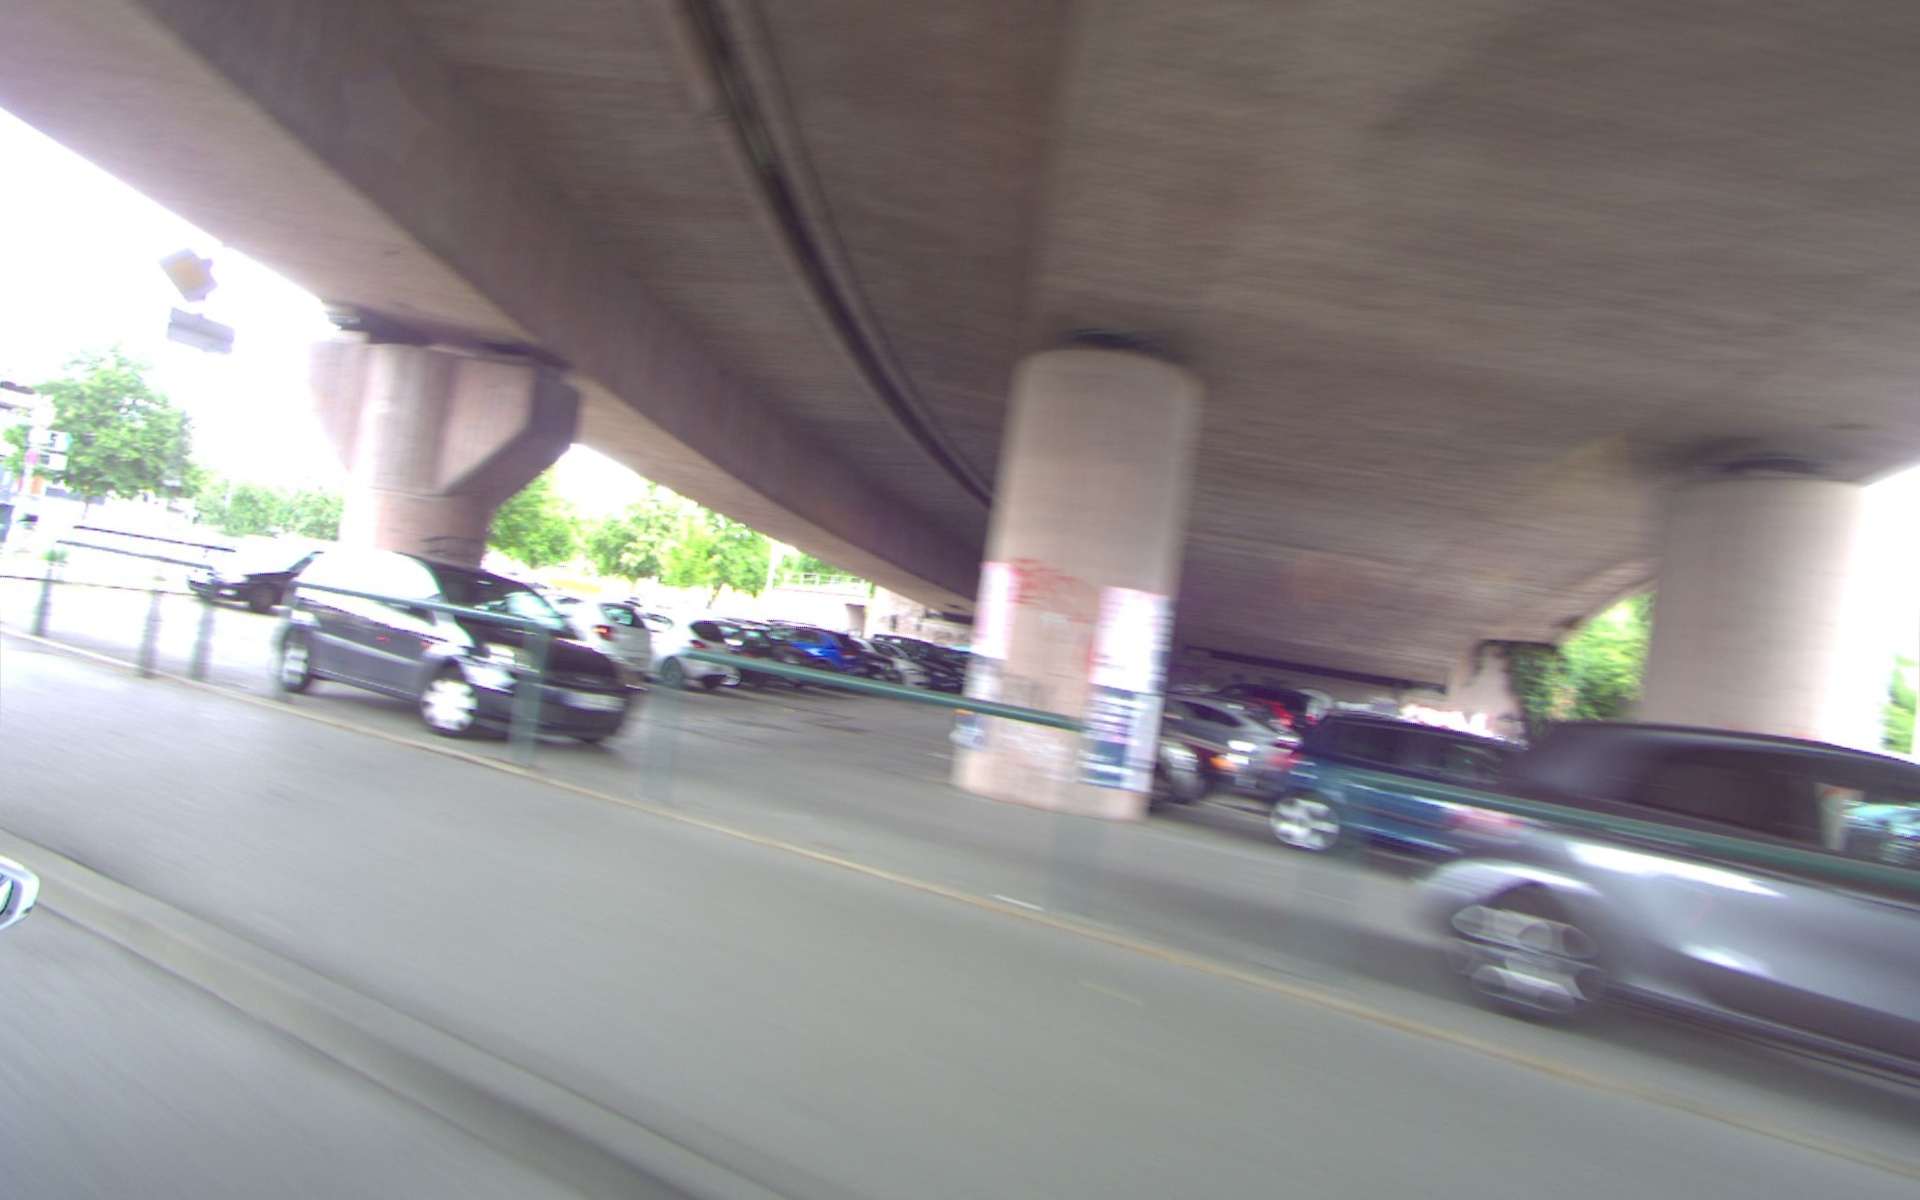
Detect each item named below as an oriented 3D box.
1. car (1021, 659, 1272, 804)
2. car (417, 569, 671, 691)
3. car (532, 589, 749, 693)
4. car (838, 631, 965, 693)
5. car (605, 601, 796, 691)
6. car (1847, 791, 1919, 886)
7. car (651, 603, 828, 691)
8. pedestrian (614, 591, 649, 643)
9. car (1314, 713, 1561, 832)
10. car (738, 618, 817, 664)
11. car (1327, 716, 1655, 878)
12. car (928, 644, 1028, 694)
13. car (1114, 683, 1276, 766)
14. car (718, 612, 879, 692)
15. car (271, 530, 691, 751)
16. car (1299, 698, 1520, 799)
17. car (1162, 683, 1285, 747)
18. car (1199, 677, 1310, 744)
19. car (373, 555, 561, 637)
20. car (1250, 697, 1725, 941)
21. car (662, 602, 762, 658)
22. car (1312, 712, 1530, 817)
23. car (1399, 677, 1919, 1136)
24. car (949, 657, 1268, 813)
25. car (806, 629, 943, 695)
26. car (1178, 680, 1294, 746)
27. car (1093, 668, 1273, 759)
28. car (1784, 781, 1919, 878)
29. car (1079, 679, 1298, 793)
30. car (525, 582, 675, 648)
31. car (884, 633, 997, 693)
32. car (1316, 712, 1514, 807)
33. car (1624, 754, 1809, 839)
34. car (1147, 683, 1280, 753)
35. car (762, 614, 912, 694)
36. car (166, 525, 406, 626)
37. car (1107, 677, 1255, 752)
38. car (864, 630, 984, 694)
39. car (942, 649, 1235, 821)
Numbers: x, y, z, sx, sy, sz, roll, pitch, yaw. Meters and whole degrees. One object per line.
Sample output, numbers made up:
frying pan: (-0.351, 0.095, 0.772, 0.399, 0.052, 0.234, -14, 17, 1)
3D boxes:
car: (3.222, 2.172, 17.204, 3.790, 1.717, 1.841, 8, -2, 20)
car: (-7.491, 0.552, 18.193, 3.935, 1.569, 1.641, 8, -2, 16)
car: (-6.568, 0.855, 20.827, 3.788, 1.526, 1.701, 8, -2, 13)
car: (-1.936, 2.098, 33.864, 3.788, 1.454, 1.761, 8, -2, 13)
car: (-5.983, 1.088, 23.341, 3.788, 1.459, 1.701, 8, -2, 13)
car: (20.482, 5.021, 19.716, 4.114, 1.610, 1.841, 8, -2, 20)
car: (-5.475, 1.178, 25.139, 3.788, 1.573, 1.701, 8, -2, 13)
pedestrian: (-13.165, 0.675, 40.302, 0.723, 1.928, 0.826, 7, -2, 17)
car: (9.317, 3.345, 20.034, 4.114, 1.482, 1.841, 8, -2, 20)
car: (-7.427, 1.728, 41.192, 1.550, 1.455, 3.382, 8, -3, 19)
car: (8.023, 2.942, 15.676, 4.114, 1.567, 1.841, 8, -2, 20)
car: (0.776, 2.926, 42.449, 3.788, 1.495, 1.761, 8, -2, 13)
car: (6.130, 3.193, 26.176, 3.790, 1.443, 1.841, 8, -2, 20)
car: (-4.390, 1.435, 27.515, 3.788, 1.573, 1.761, 8, -2, 13)
car: (-4.440, 0.349, 9.257, 3.519, 1.411, 1.612, 7, -4, 30)
car: (11.743, 3.863, 26.724, 5.011, 1.696, 2.094, 8, -2, 20)
car: (8.556, 3.690, 32.594, 3.595, 1.443, 1.681, 8, -2, 20)
car: (10.738, 3.998, 36.631, 3.595, 1.808, 1.886, 8, -2, 20)
car: (-12.002, -0.019, 24.853, 1.482, 1.436, 4.254, 9, -2, 18)
car: (5.174, 2.043, 10.135, 3.808, 1.522, 1.785, 5, -5, 43)
car: (-8.893, 1.140, 36.408, 1.586, 1.552, 4.077, 8, -3, 15)
car: (10.102, 3.581, 22.420, 4.114, 1.482, 1.841, 8, -2, 20)
car: (4.101, 1.452, 4.838, 3.352, 1.549, 1.612, 7, -4, 30)
car: (2.244, 1.972, 15.230, 4.301, 1.485, 1.841, 8, -4, 24)
car: (-2.660, 1.943, 31.639, 3.788, 1.450, 1.761, 8, -2, 13)
car: (9.518, 3.869, 34.661, 3.595, 1.616, 1.681, 8, -2, 20)
car: (5.253, 2.617, 23.592, 3.790, 1.443, 1.841, 8, -2, 20)
car: (21.030, 5.222, 22.022, 4.114, 1.610, 1.841, 8, -2, 20)
car: (4.420, 2.555, 19.358, 3.790, 1.443, 1.841, 8, -2, 20)
car: (-10.483, 0.492, 29.676, 1.739, 1.335, 4.382, 8, -3, 18)
car: (-0.715, 2.408, 38.152, 3.788, 1.656, 1.761, 8, -2, 13)
car: (11.003, 3.829, 24.659, 4.114, 1.482, 1.841, 8, -2, 20)
car: (23.634, 6.103, 31.600, 4.114, 1.707, 1.841, 8, -2, 20)
car: (7.614, 3.500, 30.176, 3.595, 1.443, 1.681, 8, -2, 20)
car: (-3.557, 1.590, 29.359, 3.788, 1.713, 1.761, 8, -2, 13)
car: (-13.296, -0.422, 20.118, 1.482, 1.344, 3.705, 9, -3, 19)
car: (6.277, 3.197, 28.498, 3.790, 1.443, 1.681, 8, -2, 20)
car: (-1.256, 2.221, 36.076, 3.788, 1.656, 1.761, 8, -2, 13)
car: (1.677, 1.684, 12.880, 3.312, 1.515, 1.534, 8, -4, 20)
